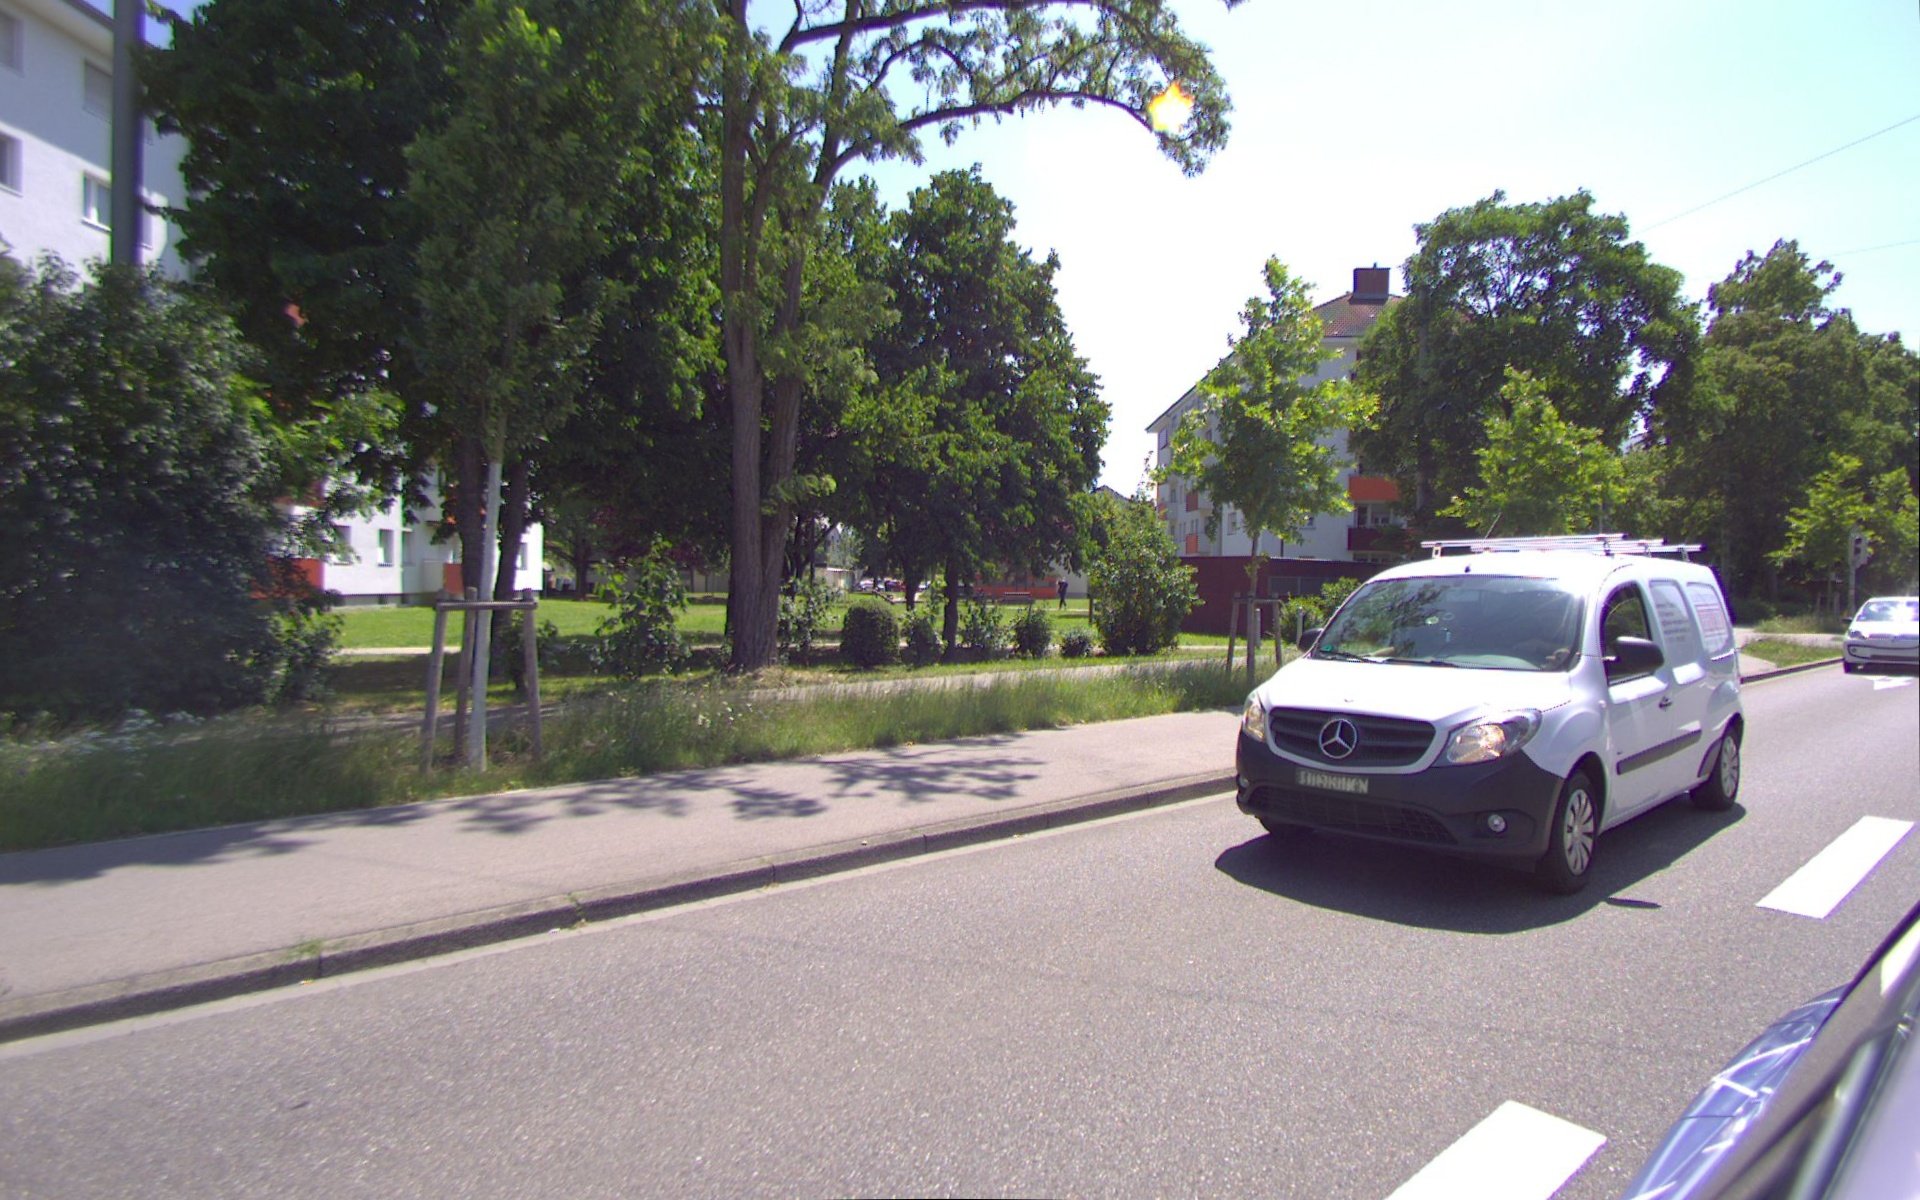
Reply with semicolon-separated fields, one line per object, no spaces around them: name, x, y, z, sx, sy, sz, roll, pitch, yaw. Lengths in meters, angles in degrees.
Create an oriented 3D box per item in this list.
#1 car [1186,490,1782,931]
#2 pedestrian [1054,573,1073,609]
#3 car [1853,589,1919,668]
car;3.732;0.457;6.660;4.994;1.879;1.807;0;0;-42
pedestrian;5.712;-0.506;55.765;0.739;1.942;0.891;0;0;-14
car;18.967;0.522;19.961;3.438;1.459;1.624;0;0;-41
